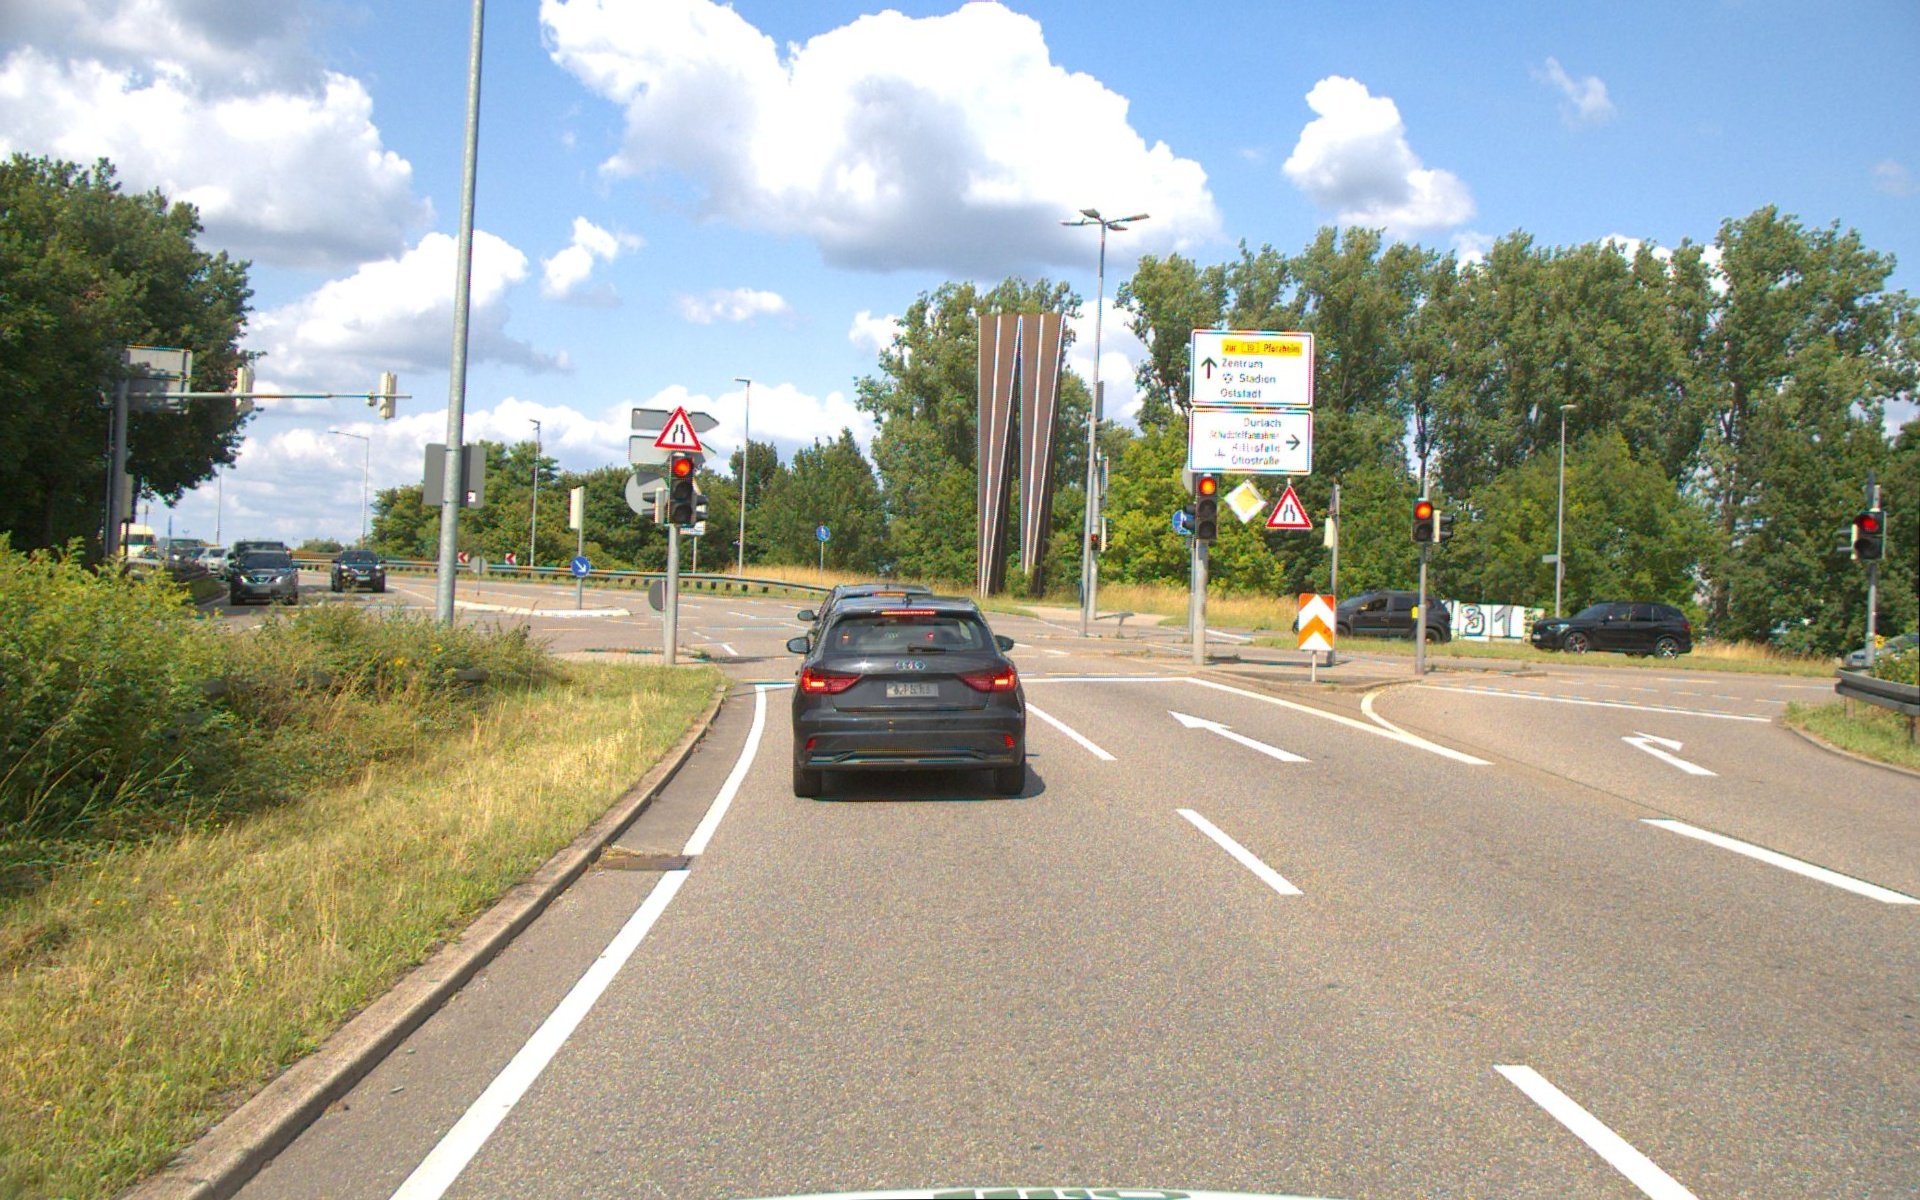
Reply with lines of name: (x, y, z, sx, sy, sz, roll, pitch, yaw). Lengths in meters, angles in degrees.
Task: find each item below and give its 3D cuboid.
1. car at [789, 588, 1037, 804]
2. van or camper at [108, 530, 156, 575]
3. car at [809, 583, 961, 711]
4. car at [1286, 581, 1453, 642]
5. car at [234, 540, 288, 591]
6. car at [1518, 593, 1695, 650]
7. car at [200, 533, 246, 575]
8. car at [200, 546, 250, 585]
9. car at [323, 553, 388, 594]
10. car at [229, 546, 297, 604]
car: (-0.408, 0.640, 13.307, 1.691, 1.429, 3.998, 0, 1, -3)
van or camper: (-53.183, -3.034, 106.177, 1.976, 2.730, 6.784, 1, 1, -33)
car: (-1.037, 0.520, 21.055, 1.693, 1.448, 3.839, 0, 1, -6)
car: (11.378, 0.305, 46.129, 4.183, 1.572, 1.736, 2, 0, -4)
car: (-27.092, -1.335, 64.131, 1.818, 1.833, 4.296, 1, 1, -23)
car: (19.844, 0.654, 50.870, 4.751, 1.572, 1.736, 2, 0, -4)
car: (-37.792, -2.348, 84.748, 1.822, 2.013, 4.286, 1, 1, -28)
car: (-34.593, -1.616, 77.776, 1.822, 1.735, 4.287, 1, 1, -28)
car: (-23.125, -1.027, 63.207, 1.923, 1.443, 3.937, 2, 1, -26)
car: (-21.249, -0.723, 50.445, 1.814, 1.646, 3.972, 1, -1, -23)
